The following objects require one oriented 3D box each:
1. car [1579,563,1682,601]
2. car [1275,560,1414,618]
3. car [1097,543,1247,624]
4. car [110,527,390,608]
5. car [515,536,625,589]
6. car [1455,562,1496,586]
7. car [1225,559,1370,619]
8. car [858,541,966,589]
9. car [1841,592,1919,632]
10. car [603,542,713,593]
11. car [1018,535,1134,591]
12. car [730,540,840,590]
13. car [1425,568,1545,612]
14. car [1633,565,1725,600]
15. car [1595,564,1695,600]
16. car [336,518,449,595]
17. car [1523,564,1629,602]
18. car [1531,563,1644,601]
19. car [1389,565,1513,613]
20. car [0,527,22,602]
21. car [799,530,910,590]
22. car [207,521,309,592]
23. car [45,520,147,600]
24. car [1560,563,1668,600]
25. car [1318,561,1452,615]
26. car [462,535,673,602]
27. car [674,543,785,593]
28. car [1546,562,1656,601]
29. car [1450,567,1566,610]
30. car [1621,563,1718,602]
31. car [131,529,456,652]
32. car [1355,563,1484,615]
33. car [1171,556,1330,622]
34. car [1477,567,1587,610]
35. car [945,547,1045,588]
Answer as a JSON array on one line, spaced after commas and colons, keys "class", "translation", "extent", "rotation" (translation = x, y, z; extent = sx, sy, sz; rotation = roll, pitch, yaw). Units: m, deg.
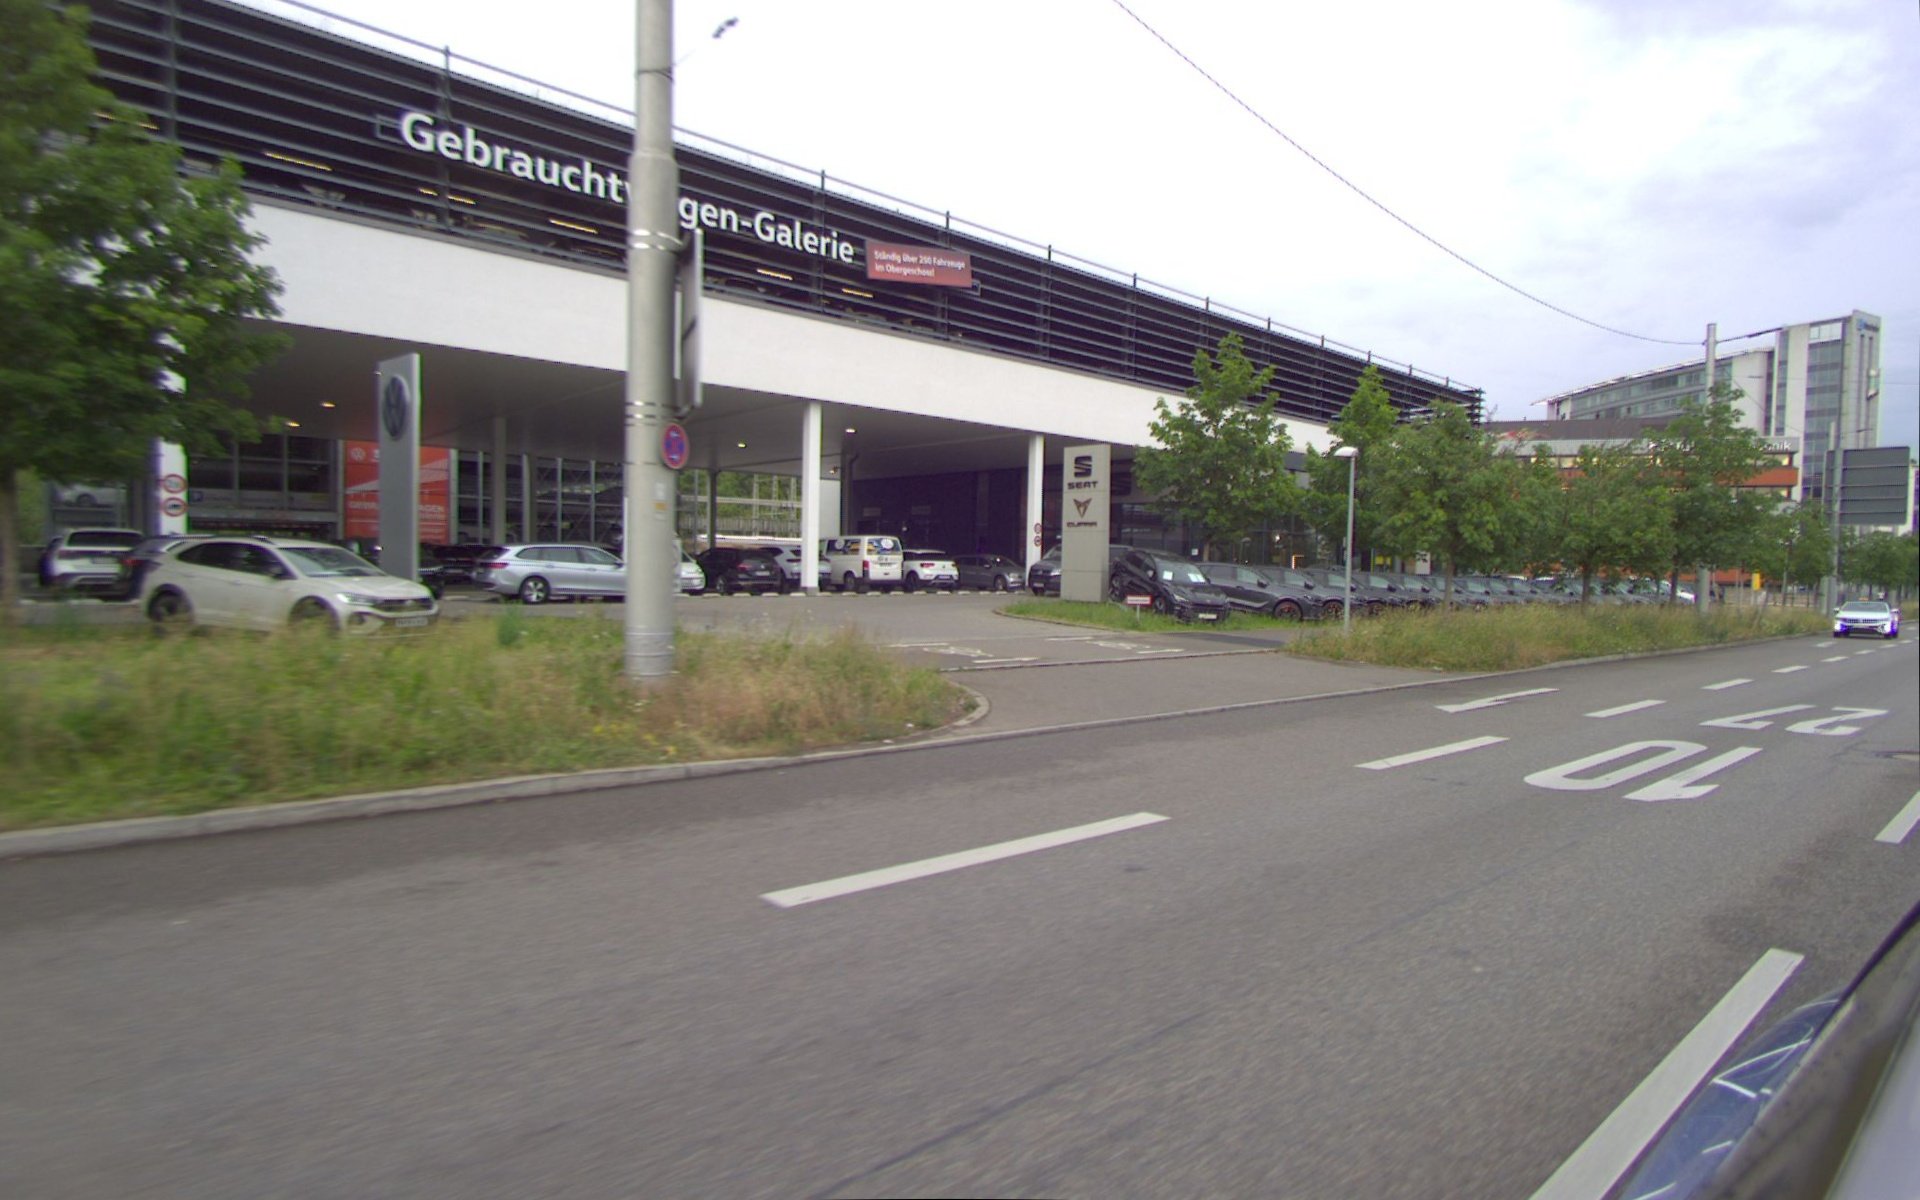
[{"class": "car", "translation": [36.109, -1.003, 54.582], "extent": [4.475, 1.817, 1.798], "rotation": [5, 4, 36]}, {"class": "car", "translation": [12.614, -0.418, 33.245], "extent": [4.109, 1.624, 1.812], "rotation": [4, 3, 25]}, {"class": "car", "translation": [5.558, -0.516, 27.242], "extent": [1.786, 1.899, 4.734], "rotation": [2, 3, -18]}, {"class": "car", "translation": [-14.667, -0.689, 21.084], "extent": [4.614, 1.485, 1.783], "rotation": [-1, 5, -42]}, {"class": "car", "translation": [-11.483, -1.118, 29.699], "extent": [1.734, 1.442, 3.994], "rotation": [0, 3, -41]}, {"class": "car", "translation": [38.278, -1.939, 75.176], "extent": [1.819, 1.664, 4.295], "rotation": [2, 1, 15]}, {"class": "car", "translation": [10.466, -0.391, 31.388], "extent": [4.106, 1.580, 1.856], "rotation": [4, 3, 23]}, {"class": "car", "translation": [-1.824, -1.301, 37.375], "extent": [1.872, 1.652, 3.994], "rotation": [0, 3, -41]}, {"class": "car", "translation": [37.128, 0.448, 40.791], "extent": [3.769, 1.513, 1.878], "rotation": [0, 2, -41]}, {"class": "car", "translation": [-9.338, -1.033, 31.157], "extent": [1.734, 1.442, 3.994], "rotation": [0, 3, -41]}, {"class": "car", "translation": [4.385, -1.359, 37.866], "extent": [4.355, 1.962, 1.889], "rotation": [0, 2, -43]}, {"class": "car", "translation": [-5.985, -1.212, 34.381], "extent": [1.872, 1.555, 3.994], "rotation": [0, 3, -41]}, {"class": "car", "translation": [20.980, -0.442, 40.528], "extent": [4.118, 1.476, 1.776], "rotation": [4, 3, 30]}, {"class": "car", "translation": [43.478, -1.080, 61.298], "extent": [4.364, 1.811, 1.855], "rotation": [5, 4, 35]}, {"class": "car", "translation": [38.210, -1.028, 56.548], "extent": [4.475, 1.773, 1.798], "rotation": [5, 4, 36]}, {"class": "car", "translation": [-14.313, -1.006, 25.420], "extent": [1.857, 1.750, 3.996], "rotation": [0, 0, -39]}, {"class": "car", "translation": [28.891, -0.834, 47.537], "extent": [4.037, 1.519, 1.664], "rotation": [5, 4, 38]}, {"class": "car", "translation": [30.445, -0.891, 49.151], "extent": [4.477, 1.588, 1.797], "rotation": [5, 4, 38]}, {"class": "car", "translation": [18.802, -0.465, 38.792], "extent": [4.118, 1.546, 1.813], "rotation": [4, 3, 29]}, {"class": "car", "translation": [-20.786, -0.777, 20.873], "extent": [3.812, 1.469, 1.708], "rotation": [3, 3, 41]}, {"class": "car", "translation": [-3.788, -1.448, 35.913], "extent": [1.911, 2.000, 4.034], "rotation": [0, 3, -41]}, {"class": "car", "translation": [-16.916, -0.976, 24.312], "extent": [1.754, 1.527, 3.996], "rotation": [0, 0, -39]}, {"class": "car", "translation": [-19.135, -0.895, 22.400], "extent": [1.610, 1.607, 3.823], "rotation": [0, 3, -41]}, {"class": "car", "translation": [33.978, -0.978, 52.658], "extent": [4.482, 1.638, 1.795], "rotation": [5, 4, 40]}, {"class": "car", "translation": [14.696, -0.456, 35.111], "extent": [4.109, 1.588, 1.812], "rotation": [4, 3, 25]}, {"class": "car", "translation": [-9.824, -0.804, 25.562], "extent": [4.616, 1.485, 1.897], "rotation": [-1, 5, -42]}, {"class": "car", "translation": [-7.372, -1.042, 32.193], "extent": [1.734, 1.463, 3.994], "rotation": [0, 3, -41]}, {"class": "car", "translation": [32.215, -0.957, 50.942], "extent": [4.477, 1.683, 1.797], "rotation": [5, 4, 38]}, {"class": "car", "translation": [22.924, -0.515, 42.445], "extent": [4.118, 1.552, 1.776], "rotation": [4, 3, 30]}, {"class": "car", "translation": [41.869, -1.071, 59.837], "extent": [4.465, 2.015, 1.802], "rotation": [4, 3, 31]}, {"class": "car", "translation": [-9.567, -0.209, 14.604], "extent": [4.043, 1.483, 1.740], "rotation": [3, 4, 16]}, {"class": "car", "translation": [16.791, -0.443, 37.024], "extent": [4.117, 1.588, 1.890], "rotation": [4, 3, 29]}, {"class": "car", "translation": [8.474, -0.359, 29.543], "extent": [4.282, 1.632, 1.858], "rotation": [4, 3, 20]}, {"class": "car", "translation": [24.823, -0.528, 44.046], "extent": [4.023, 1.595, 1.715], "rotation": [4, 3, 30]}, {"class": "car", "translation": [1.368, -1.320, 40.925], "extent": [1.695, 1.532, 4.038], "rotation": [0, 3, -43]}]
